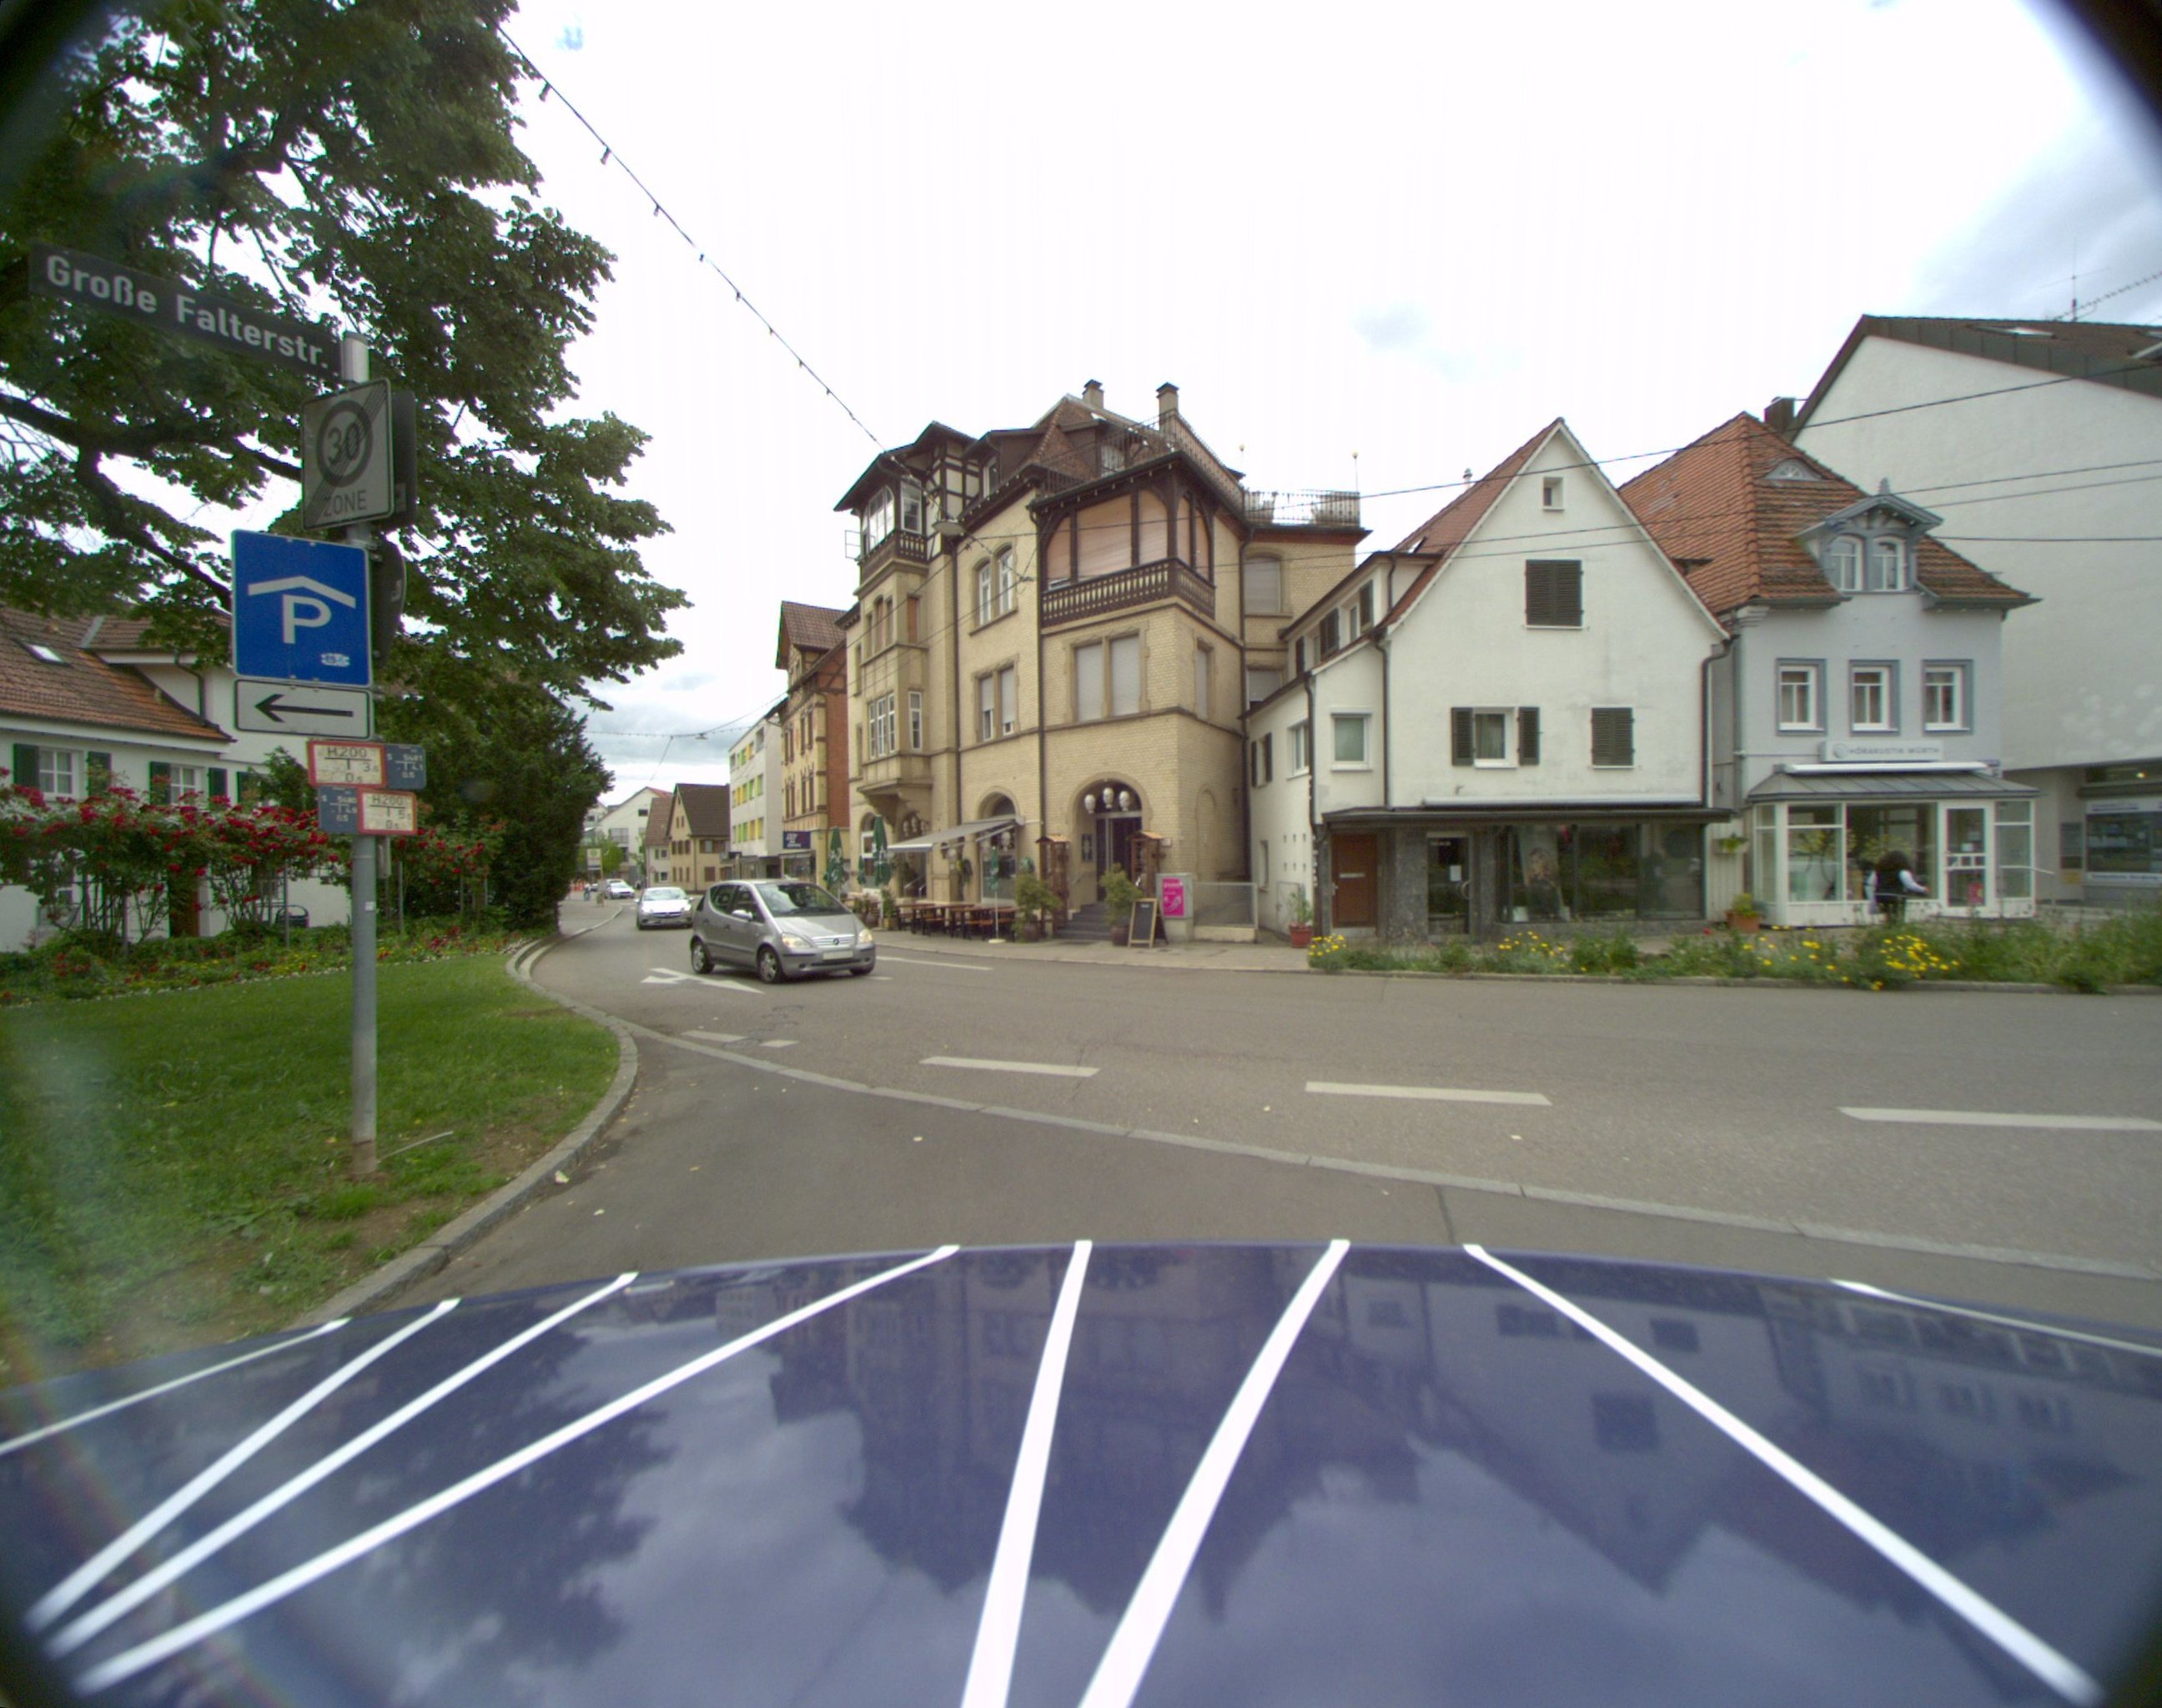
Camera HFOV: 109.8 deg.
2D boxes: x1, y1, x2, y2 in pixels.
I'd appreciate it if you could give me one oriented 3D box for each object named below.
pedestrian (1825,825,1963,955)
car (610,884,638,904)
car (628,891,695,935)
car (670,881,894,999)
[{"bbox_3d":[13.211,0.566,12.398,1.013,2.001,1.106,-2,0,-4],"label":"pedestrian"},{"bbox_3d":[-42.551,3.652,70.719,2.005,1.618,3.990,-2,1,-34],"label":"car"},{"bbox_3d":[-15.093,2.054,27.236,1.759,1.347,3.991,-1,-1,-33],"label":"car"},{"bbox_3d":[-5.070,1.268,12.635,3.989,1.617,1.900,-2,-2,43],"label":"car"}]
